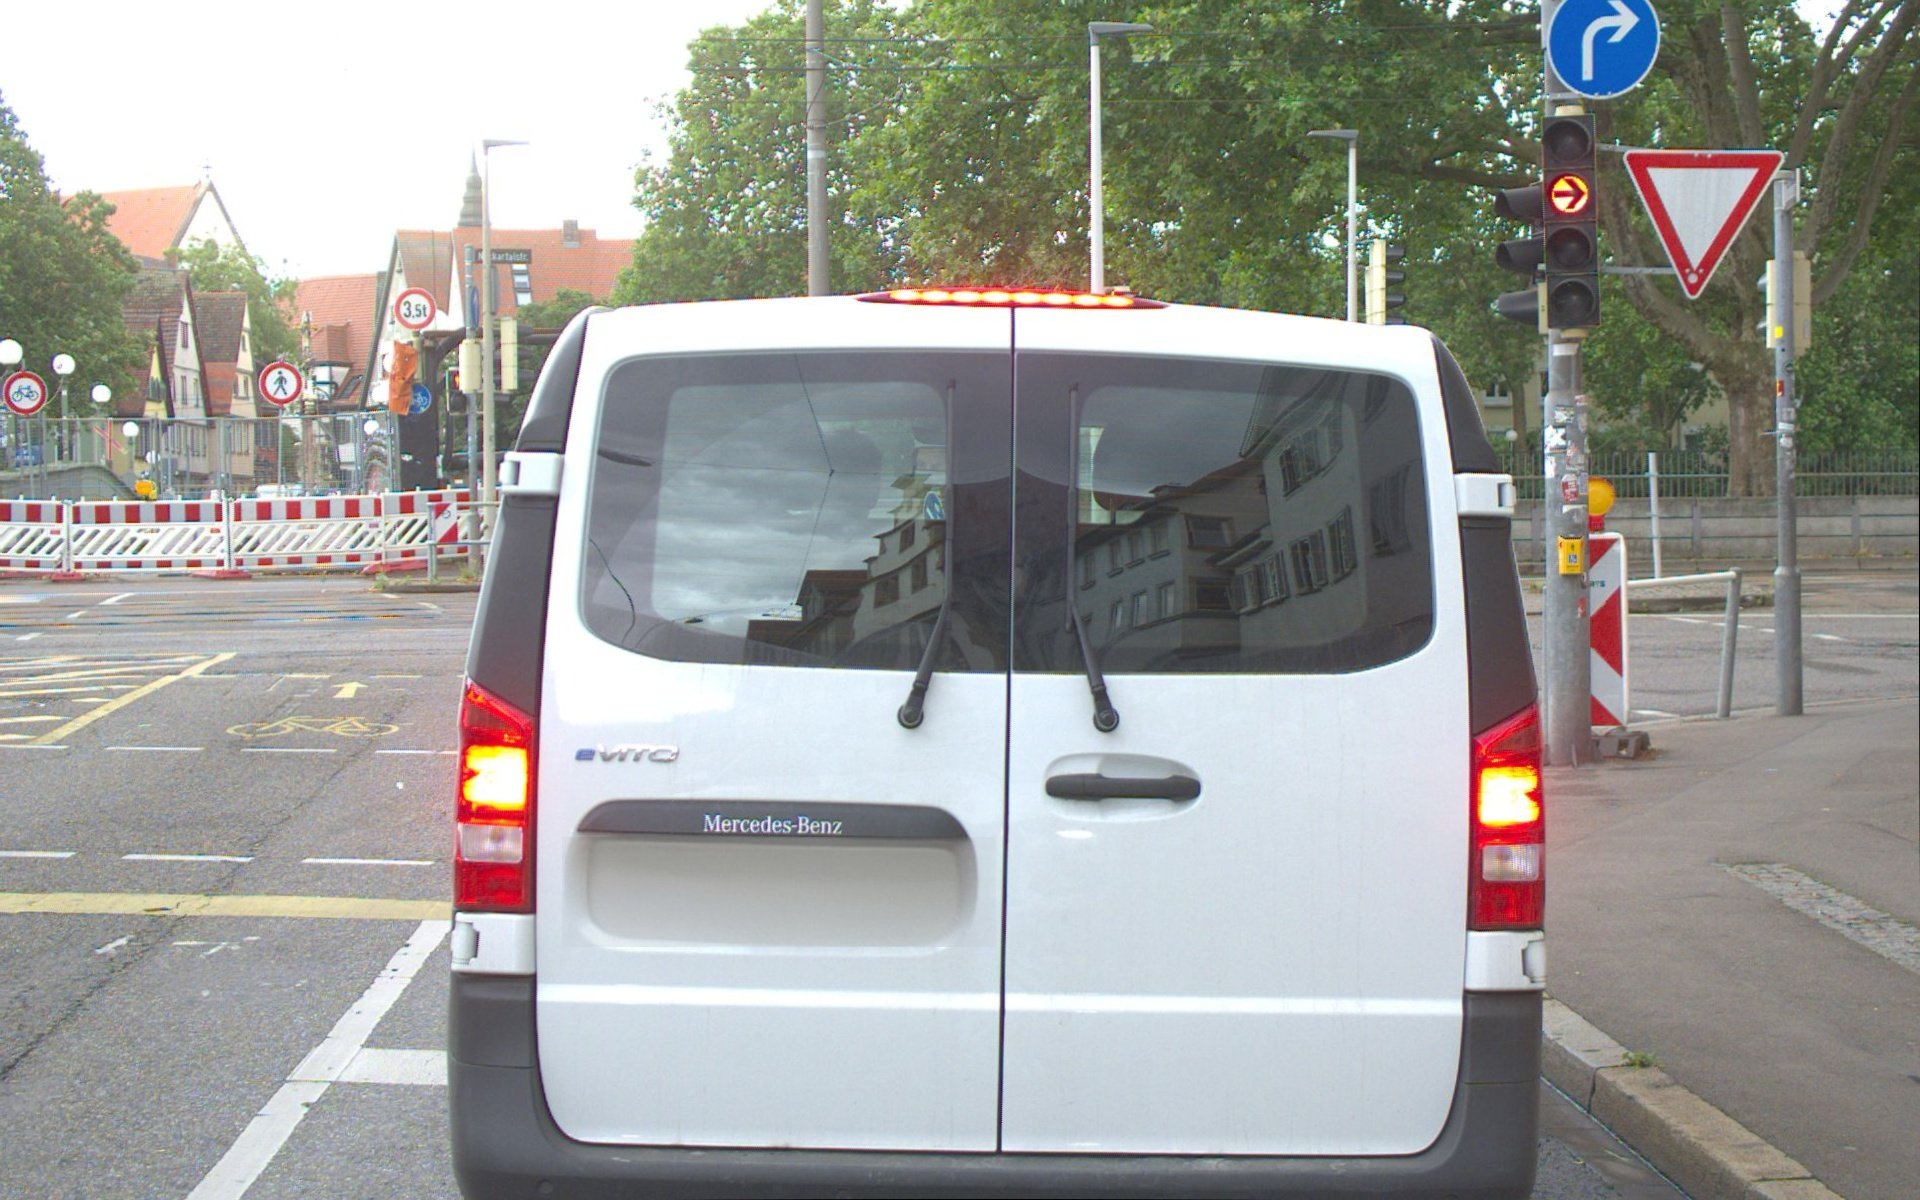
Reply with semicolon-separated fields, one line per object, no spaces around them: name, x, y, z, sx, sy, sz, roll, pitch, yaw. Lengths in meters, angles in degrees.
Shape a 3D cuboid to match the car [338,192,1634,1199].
car;0.006;0.301;7.588;1.951;2.006;4.699;1;2;-1
